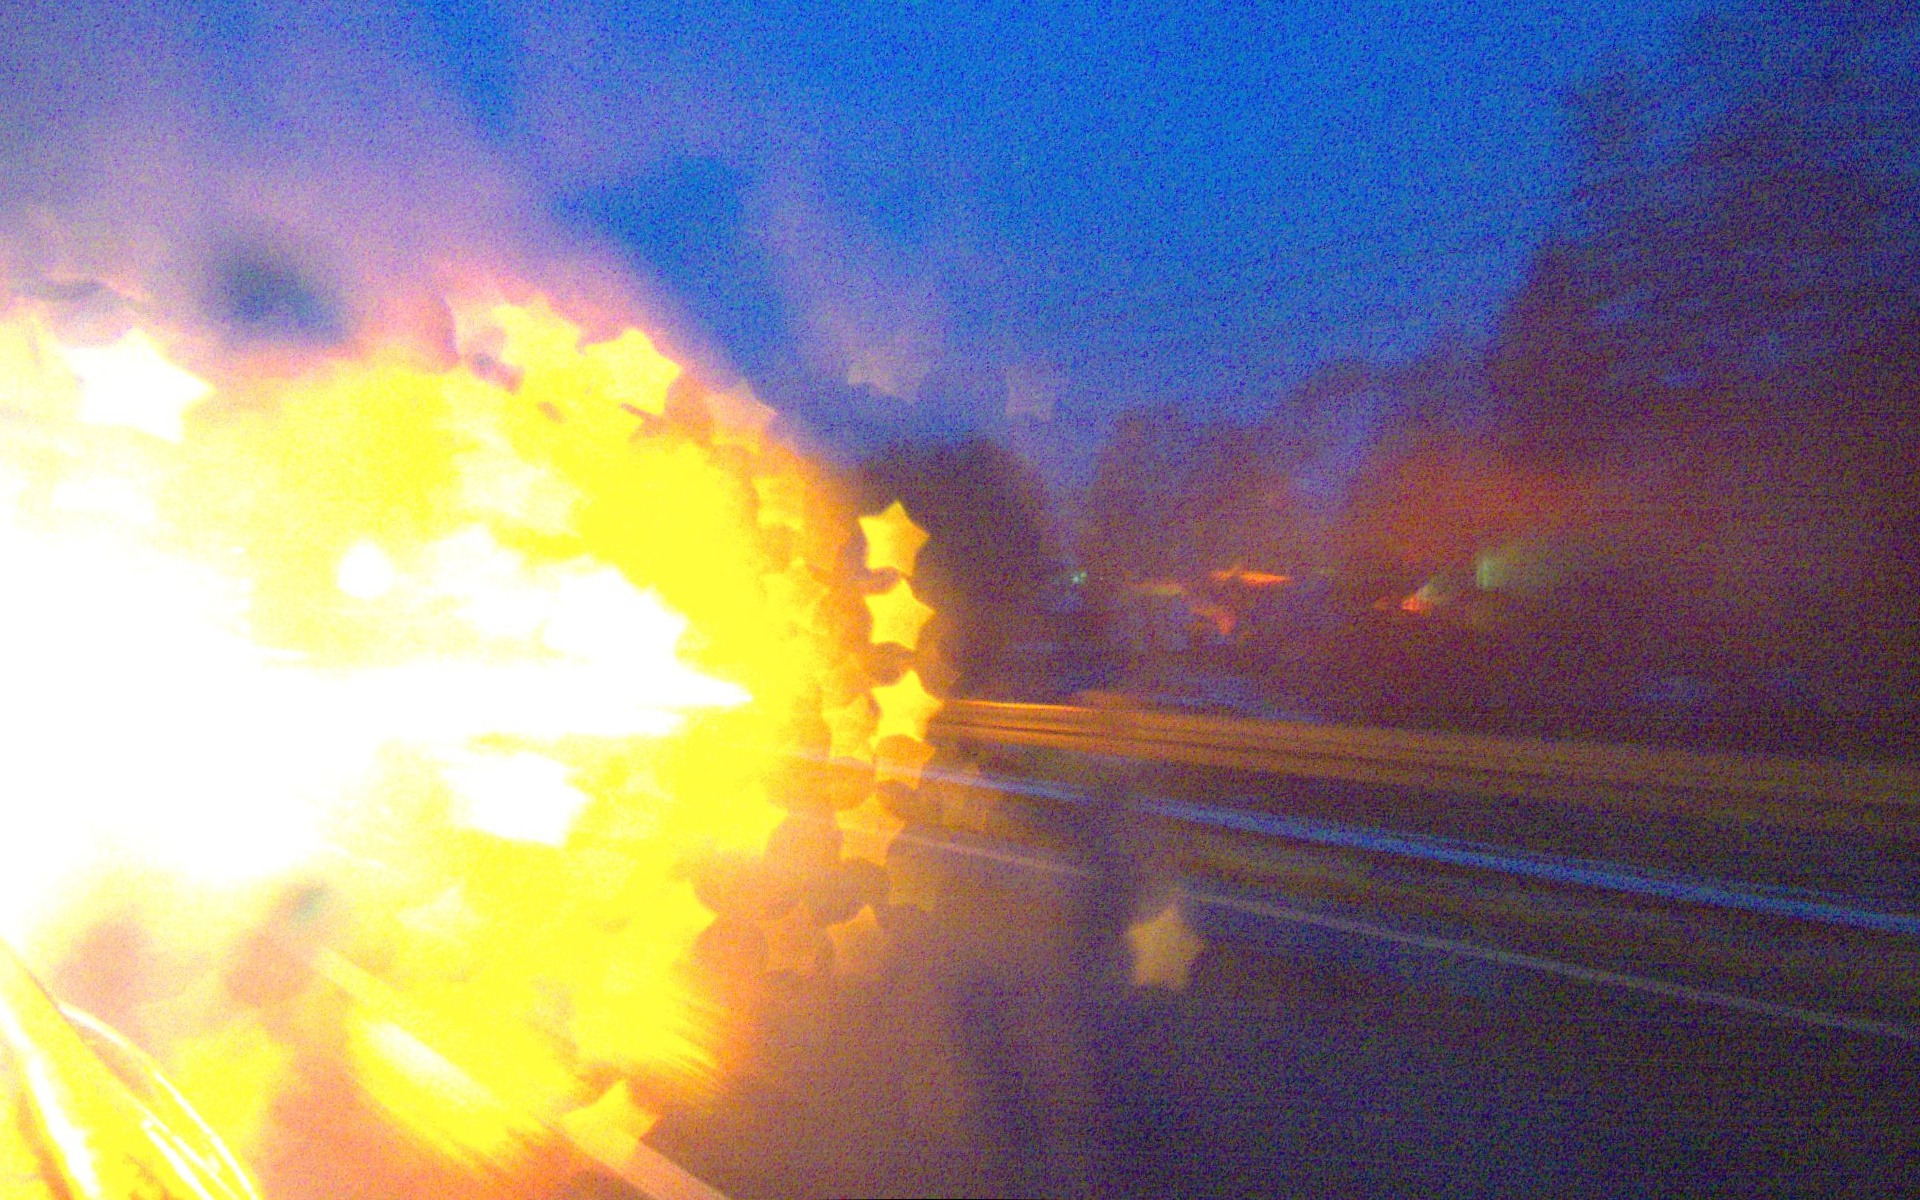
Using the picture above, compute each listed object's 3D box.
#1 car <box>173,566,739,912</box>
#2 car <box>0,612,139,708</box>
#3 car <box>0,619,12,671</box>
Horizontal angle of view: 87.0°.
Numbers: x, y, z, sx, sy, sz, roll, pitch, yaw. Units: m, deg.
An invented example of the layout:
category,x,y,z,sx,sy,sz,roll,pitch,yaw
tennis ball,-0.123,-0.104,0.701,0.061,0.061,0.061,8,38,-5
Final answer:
category,x,y,z,sx,sy,sz,roll,pitch,yaw
car,-3.805,0.694,7.161,4.819,1.651,1.926,-1,-1,41
car,-17.677,1.082,19.804,4.423,1.645,1.767,-1,0,41
car,-29.292,1.327,29.722,3.775,1.479,1.767,-1,0,41
